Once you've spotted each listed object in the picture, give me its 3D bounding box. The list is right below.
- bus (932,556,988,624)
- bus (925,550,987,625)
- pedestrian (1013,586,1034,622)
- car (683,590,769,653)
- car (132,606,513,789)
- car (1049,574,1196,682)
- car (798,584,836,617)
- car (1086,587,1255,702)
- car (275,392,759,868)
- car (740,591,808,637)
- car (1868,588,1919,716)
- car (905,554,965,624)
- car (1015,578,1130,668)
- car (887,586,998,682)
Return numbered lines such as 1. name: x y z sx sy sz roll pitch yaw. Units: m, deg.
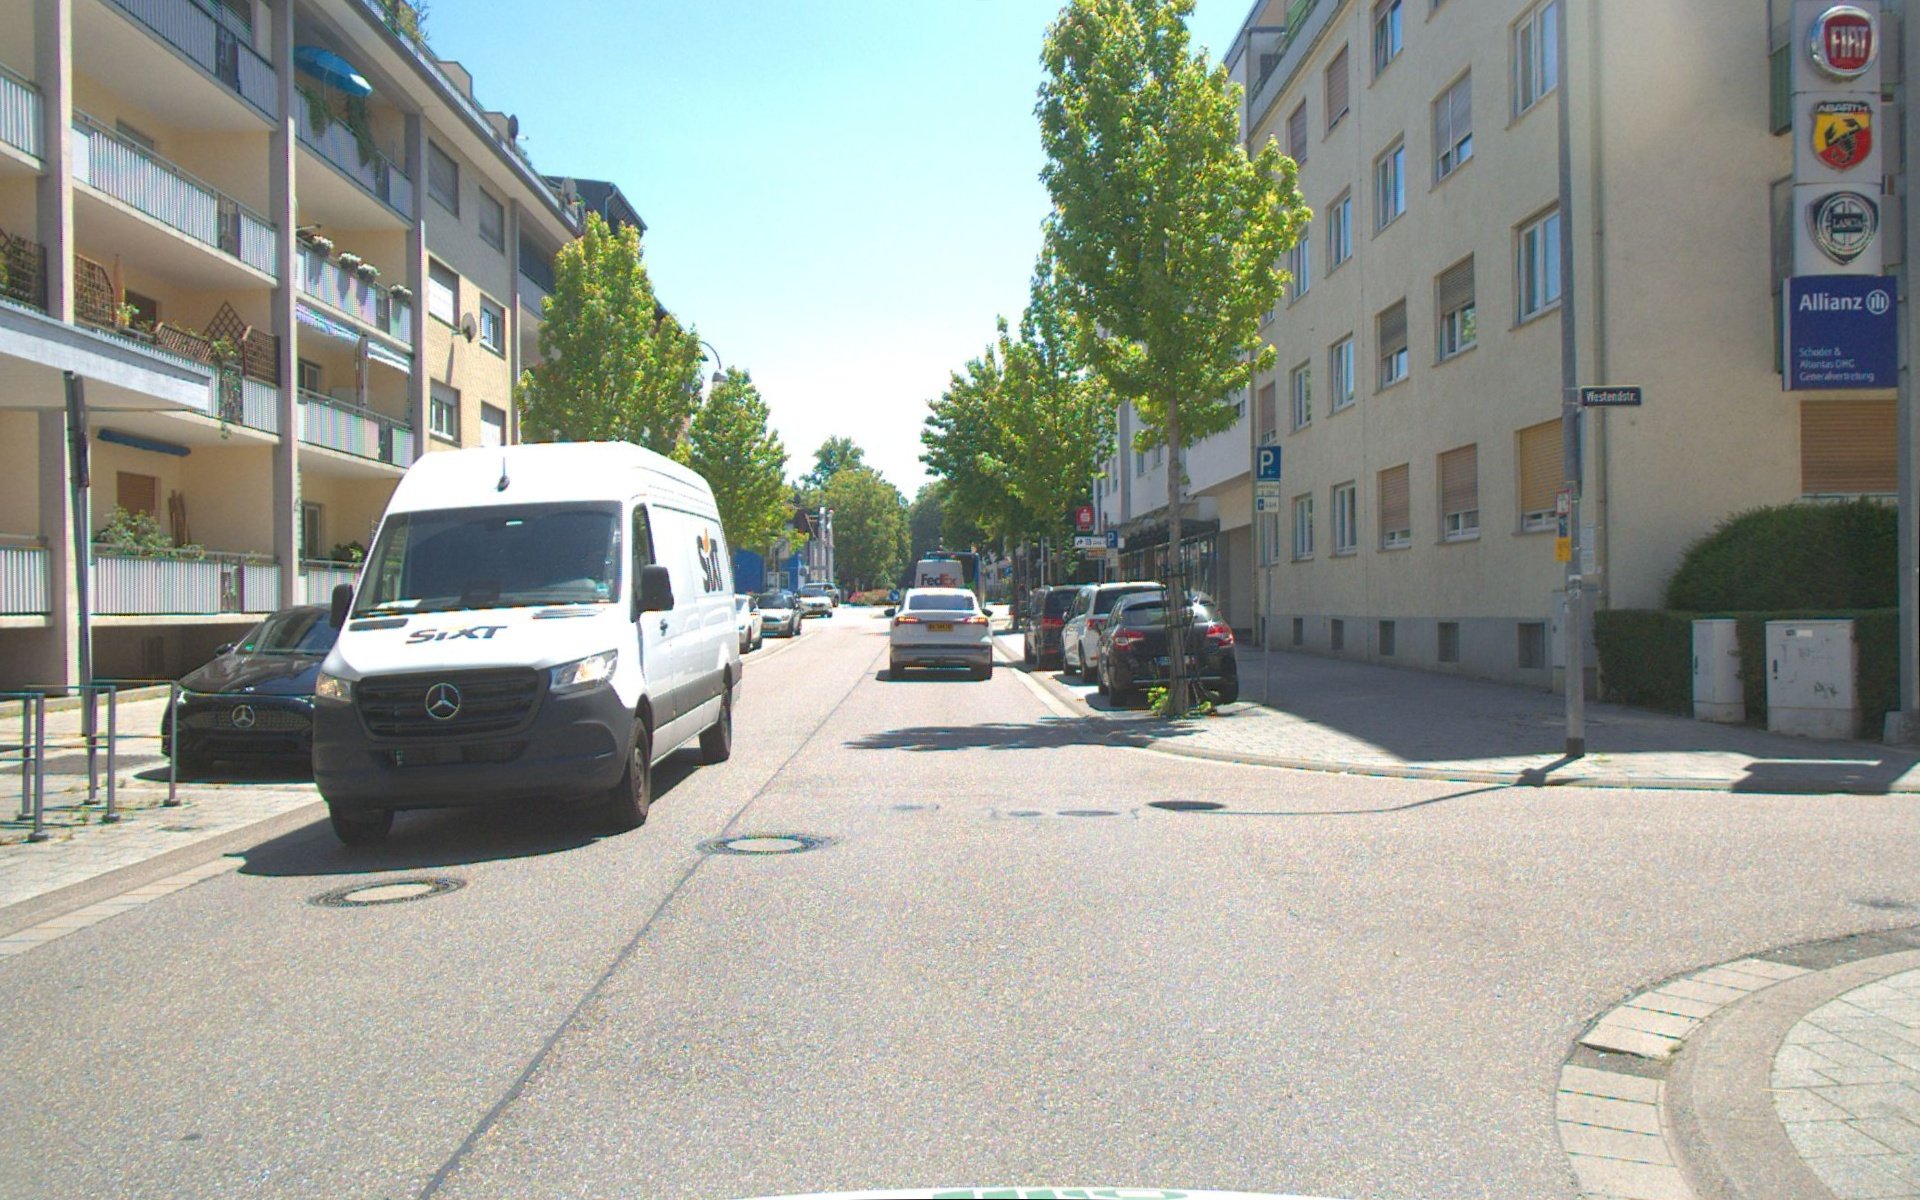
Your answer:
1. bus: 0.064 -0.483 84.874 2.606 3.266 7.452 1 0 1
2. bus: -0.124 -0.545 77.533 2.606 3.278 7.302 1 0 1
3. pedestrian: 2.765 0.180 72.110 0.703 1.529 0.581 -1 0 31
4. car: -6.464 0.561 46.006 1.716 1.646 4.400 1 0 0
5. car: -5.963 0.819 16.229 1.858 1.442 5.046 1 0 -2
6. car: 2.824 0.450 29.750 1.859 1.704 4.687 -2 0 -3
7. car: -7.864 0.002 91.268 1.819 1.721 4.149 -2 0 -2
8. car: 2.891 0.562 23.610 1.857 1.463 4.544 -1 0 1
9. car: -3.004 0.153 13.181 1.995 2.676 7.105 -3 0 -1
10. car: -6.353 0.472 56.875 1.716 1.478 4.401 1 0 1
11. car: 11.813 0.580 17.687 1.802 1.441 3.850 -1 0 -6
12. car: -0.947 -0.397 62.937 2.112 2.484 5.282 1 0 -1
13. car: 2.306 0.453 35.084 1.819 1.704 4.534 -2 0 -3
14. car: -0.384 0.594 31.215 1.953 1.661 3.998 1 0 -2
